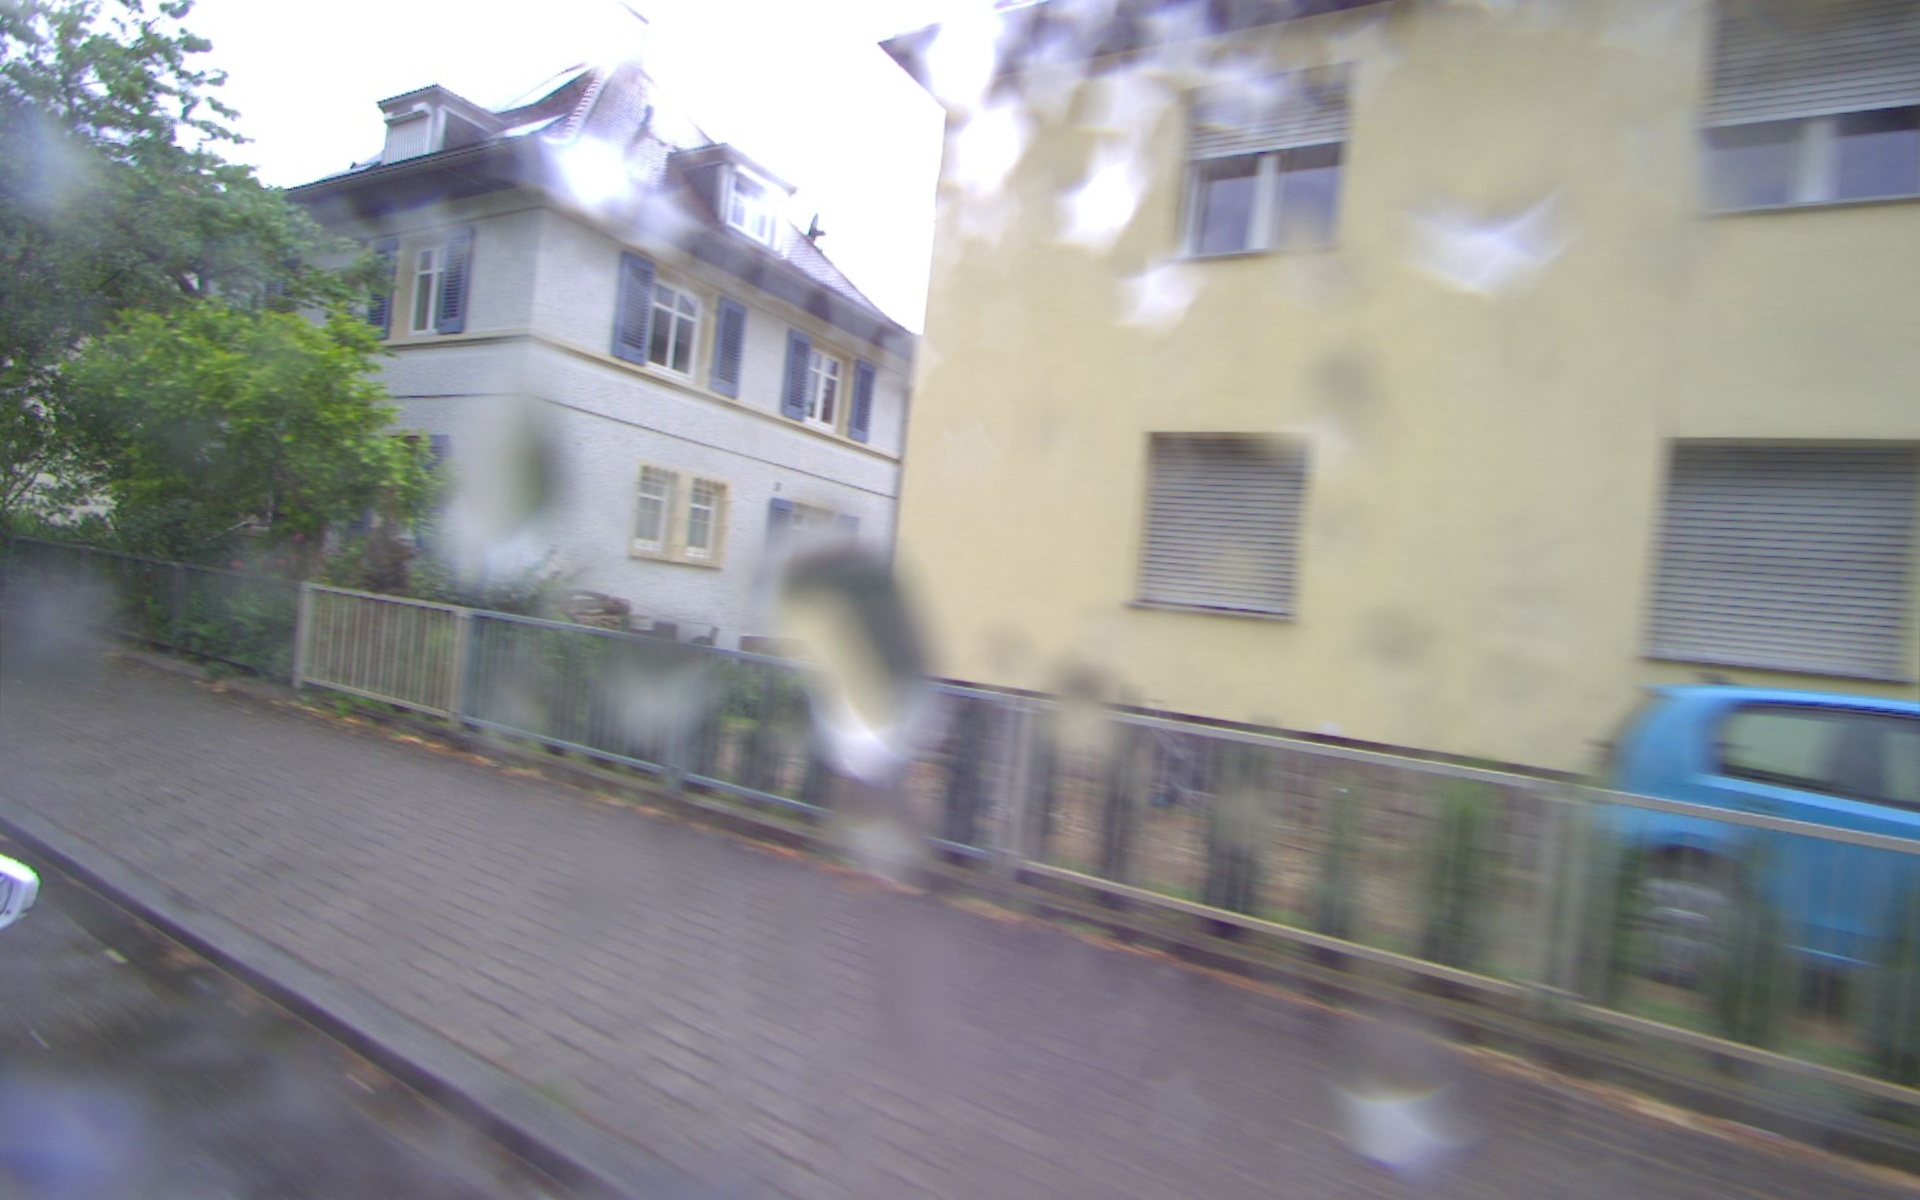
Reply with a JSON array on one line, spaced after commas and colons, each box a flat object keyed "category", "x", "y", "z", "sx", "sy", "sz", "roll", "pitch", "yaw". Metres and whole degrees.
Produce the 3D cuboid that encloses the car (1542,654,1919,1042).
[{"category": "car", "x": 4.861, "y": 1.230, "z": 4.766, "sx": 3.468, "sy": 1.488, "sz": 1.671, "roll": 6, "pitch": -1, "yaw": 33}]
